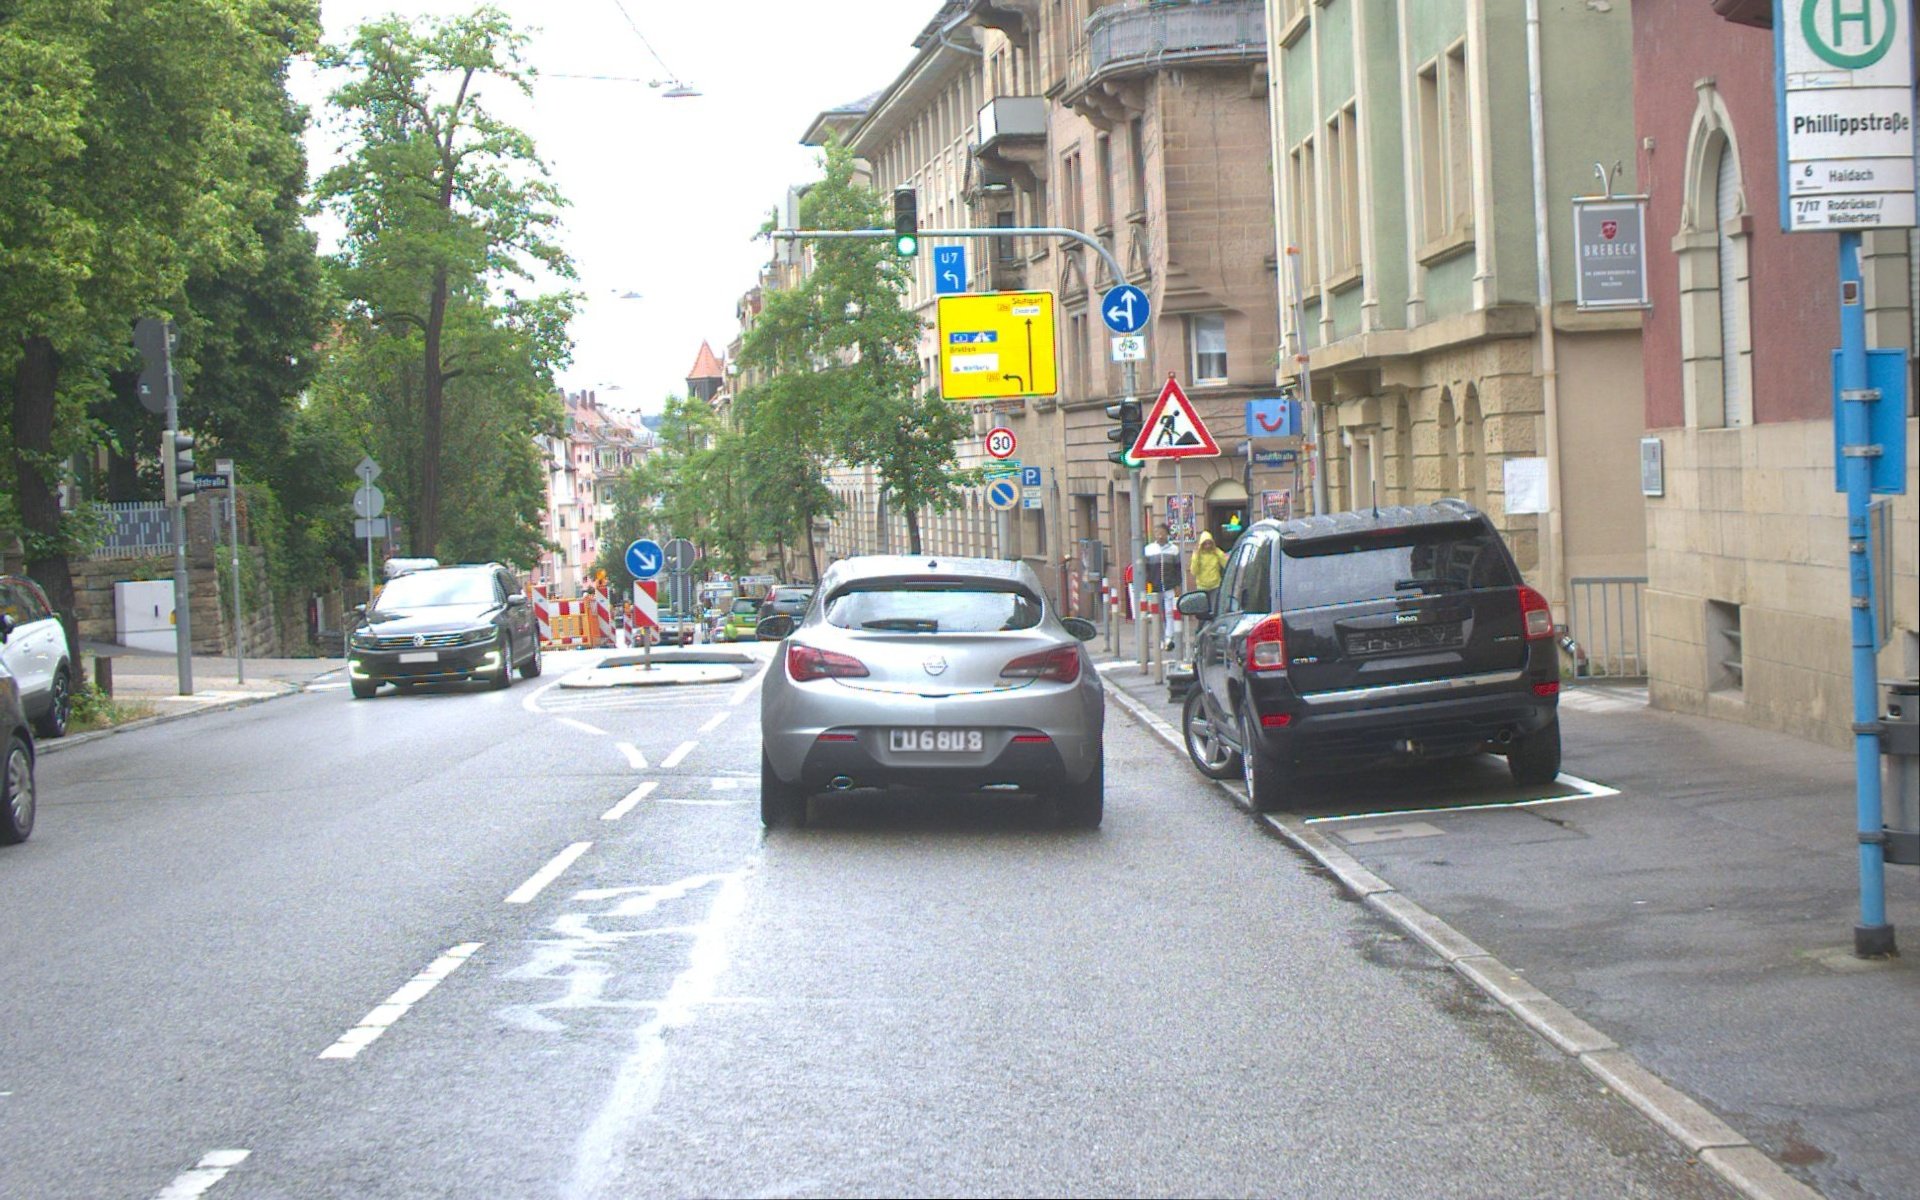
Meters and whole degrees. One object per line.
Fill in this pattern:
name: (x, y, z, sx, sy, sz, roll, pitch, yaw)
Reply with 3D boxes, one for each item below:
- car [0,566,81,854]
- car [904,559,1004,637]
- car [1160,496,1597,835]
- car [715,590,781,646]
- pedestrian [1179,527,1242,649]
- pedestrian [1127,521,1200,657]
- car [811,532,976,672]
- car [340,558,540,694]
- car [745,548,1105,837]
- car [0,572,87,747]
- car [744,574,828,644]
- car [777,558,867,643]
car: (-6.113, 0.677, 18.205, 1.772, 1.512, 4.591, -3, 2, -1)
car: (-0.159, -0.015, 75.588, 1.656, 1.538, 3.666, -4, -1, -7)
car: (2.332, 0.355, 20.374, 1.877, 1.624, 4.697, -5, 0, 0)
car: (-6.472, 0.567, 104.803, 1.656, 1.538, 3.666, -4, -1, -7)
pedestrian: (3.357, -0.167, 46.054, 0.597, 1.579, 0.665, -4, 1, 18)
pedestrian: (2.754, -0.152, 46.460, 0.718, 1.768, 0.665, -4, 1, 19)
car: (-0.724, 0.031, 39.307, 1.772, 1.499, 3.869, -1, 0, 0)
car: (-6.135, 0.277, 41.011, 1.815, 1.512, 4.548, -1, 0, -2)
car: (-0.160, 0.480, 19.448, 1.811, 1.445, 3.869, -1, 0, 1)
car: (-9.405, 0.537, 31.453, 1.741, 1.554, 4.302, 0, 0, 0)
car: (-4.280, 0.230, 84.173, 1.656, 1.538, 3.666, -4, -1, -7)
car: (-2.804, 0.035, 69.079, 1.656, 1.538, 3.665, -4, -1, -3)
